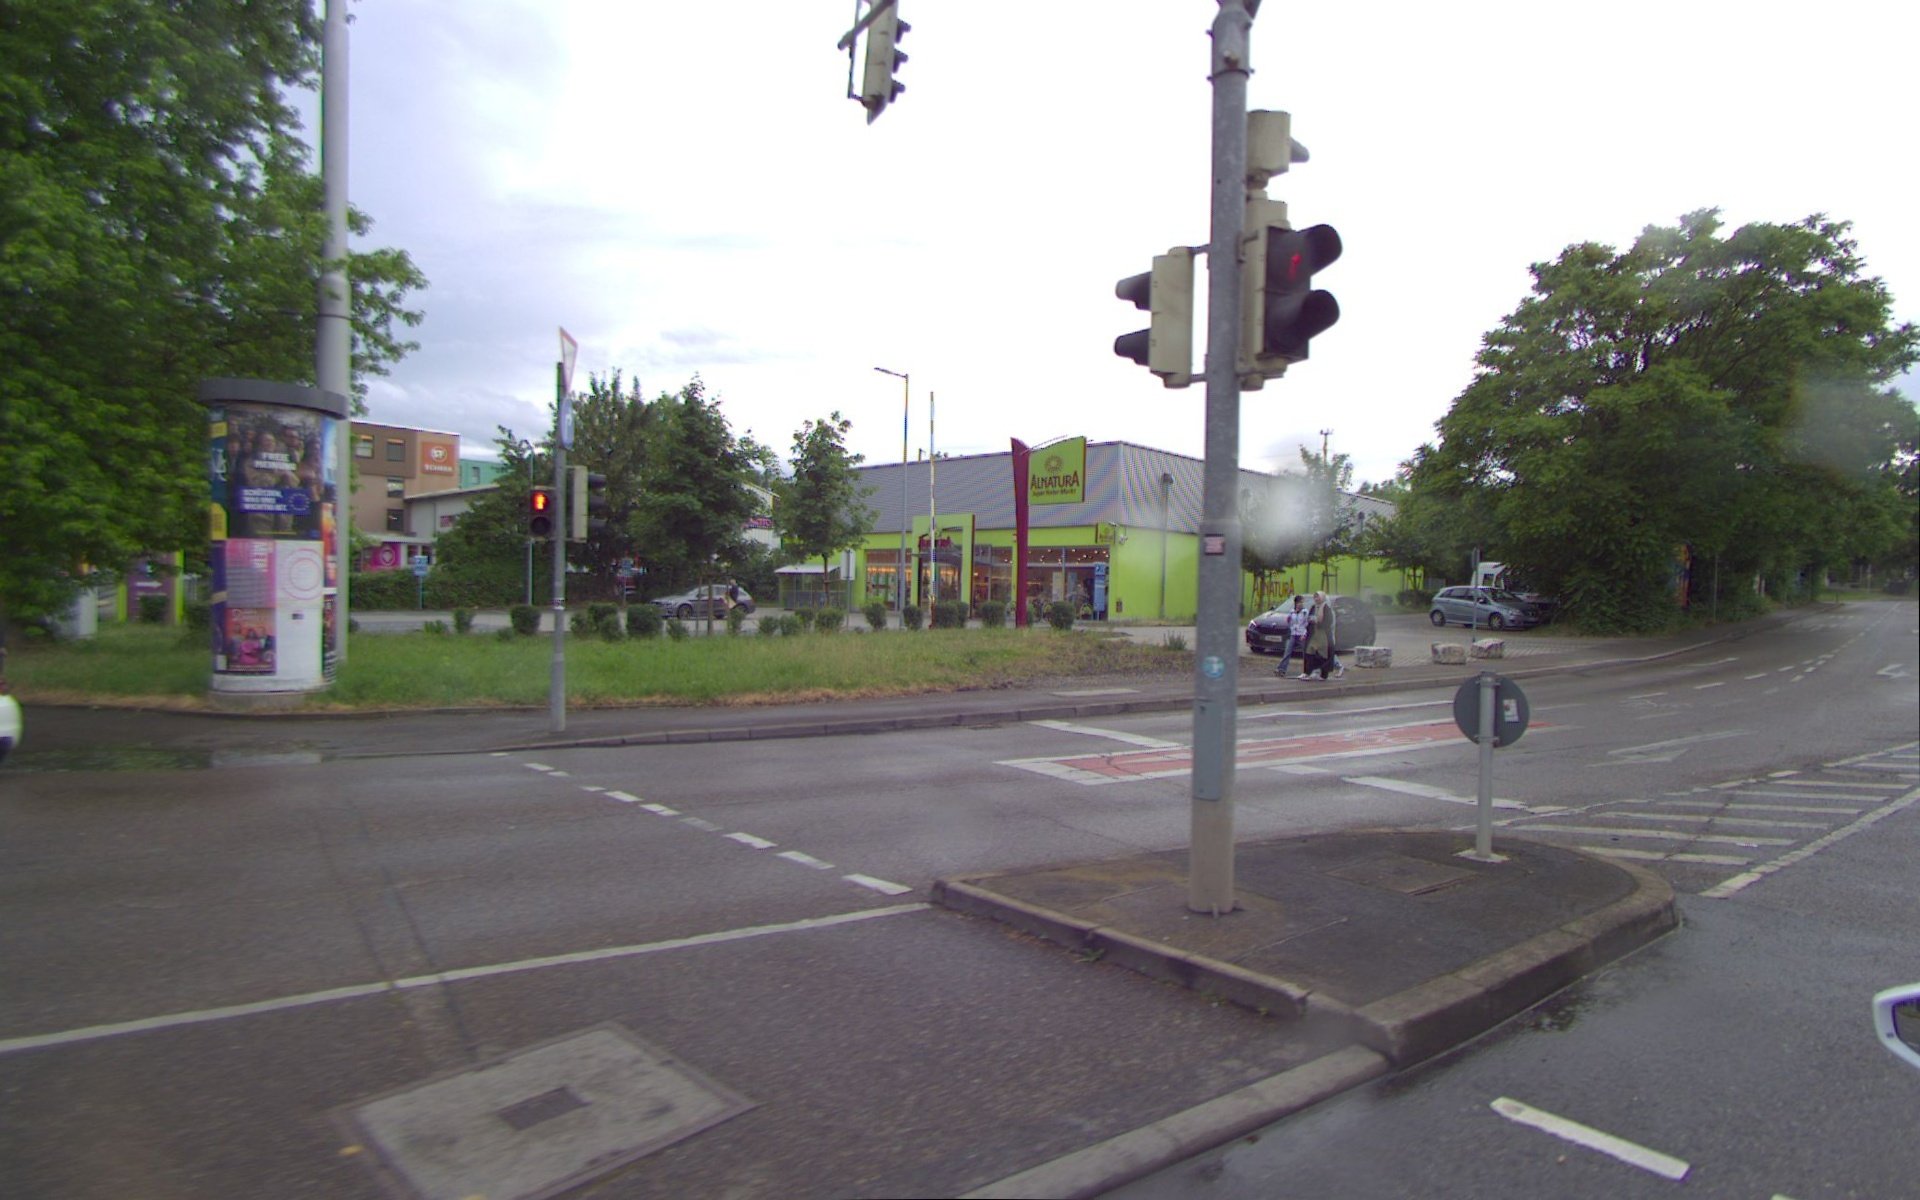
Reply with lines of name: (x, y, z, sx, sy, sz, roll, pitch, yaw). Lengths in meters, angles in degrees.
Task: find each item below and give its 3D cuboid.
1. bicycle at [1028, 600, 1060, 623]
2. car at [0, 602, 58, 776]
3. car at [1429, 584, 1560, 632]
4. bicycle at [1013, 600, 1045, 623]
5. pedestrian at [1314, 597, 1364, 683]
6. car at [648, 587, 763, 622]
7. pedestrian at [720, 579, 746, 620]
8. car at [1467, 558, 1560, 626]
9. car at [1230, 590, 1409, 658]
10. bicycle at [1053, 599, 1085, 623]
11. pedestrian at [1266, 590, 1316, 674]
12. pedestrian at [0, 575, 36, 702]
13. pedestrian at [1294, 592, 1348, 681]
bicycle: (3.684, 0.486, 44.112, 0.527, 0.995, 1.605, 0, 0, 44)
car: (-10.202, 0.730, 8.200, 3.925, 1.502, 1.691, 1, -1, -7)
car: (20.015, 0.244, 37.815, 1.969, 1.564, 4.108, 0, 3, -19)
bicycle: (3.079, 0.504, 44.790, 0.527, 0.995, 1.605, 0, 0, 44)
pedestrian: (7.440, 0.769, 19.740, 0.670, 1.624, 0.602, -1, 3, -31)
car: (-10.487, 0.170, 41.588, 4.350, 1.363, 1.752, 0, 1, -45)
pedestrian: (-9.201, -0.022, 40.651, 0.796, 1.619, 0.751, -2, 3, -37)
car: (22.721, -0.430, 41.514, 2.071, 2.567, 5.606, 1, 3, 16)
car: (8.746, 0.539, 24.380, 4.183, 1.468, 1.739, 0, 2, -29)
bicycle: (4.708, 0.464, 43.262, 0.527, 0.995, 1.605, 0, 0, 44)
pedestrian: (6.621, 0.617, 20.087, 0.670, 1.624, 0.652, -1, 3, -31)
pedestrian: (-12.087, 0.474, 12.492, 0.655, 1.552, 0.593, 1, 3, 17)
pedestrian: (6.872, 0.677, 19.126, 0.670, 1.624, 0.652, -1, 3, -31)
